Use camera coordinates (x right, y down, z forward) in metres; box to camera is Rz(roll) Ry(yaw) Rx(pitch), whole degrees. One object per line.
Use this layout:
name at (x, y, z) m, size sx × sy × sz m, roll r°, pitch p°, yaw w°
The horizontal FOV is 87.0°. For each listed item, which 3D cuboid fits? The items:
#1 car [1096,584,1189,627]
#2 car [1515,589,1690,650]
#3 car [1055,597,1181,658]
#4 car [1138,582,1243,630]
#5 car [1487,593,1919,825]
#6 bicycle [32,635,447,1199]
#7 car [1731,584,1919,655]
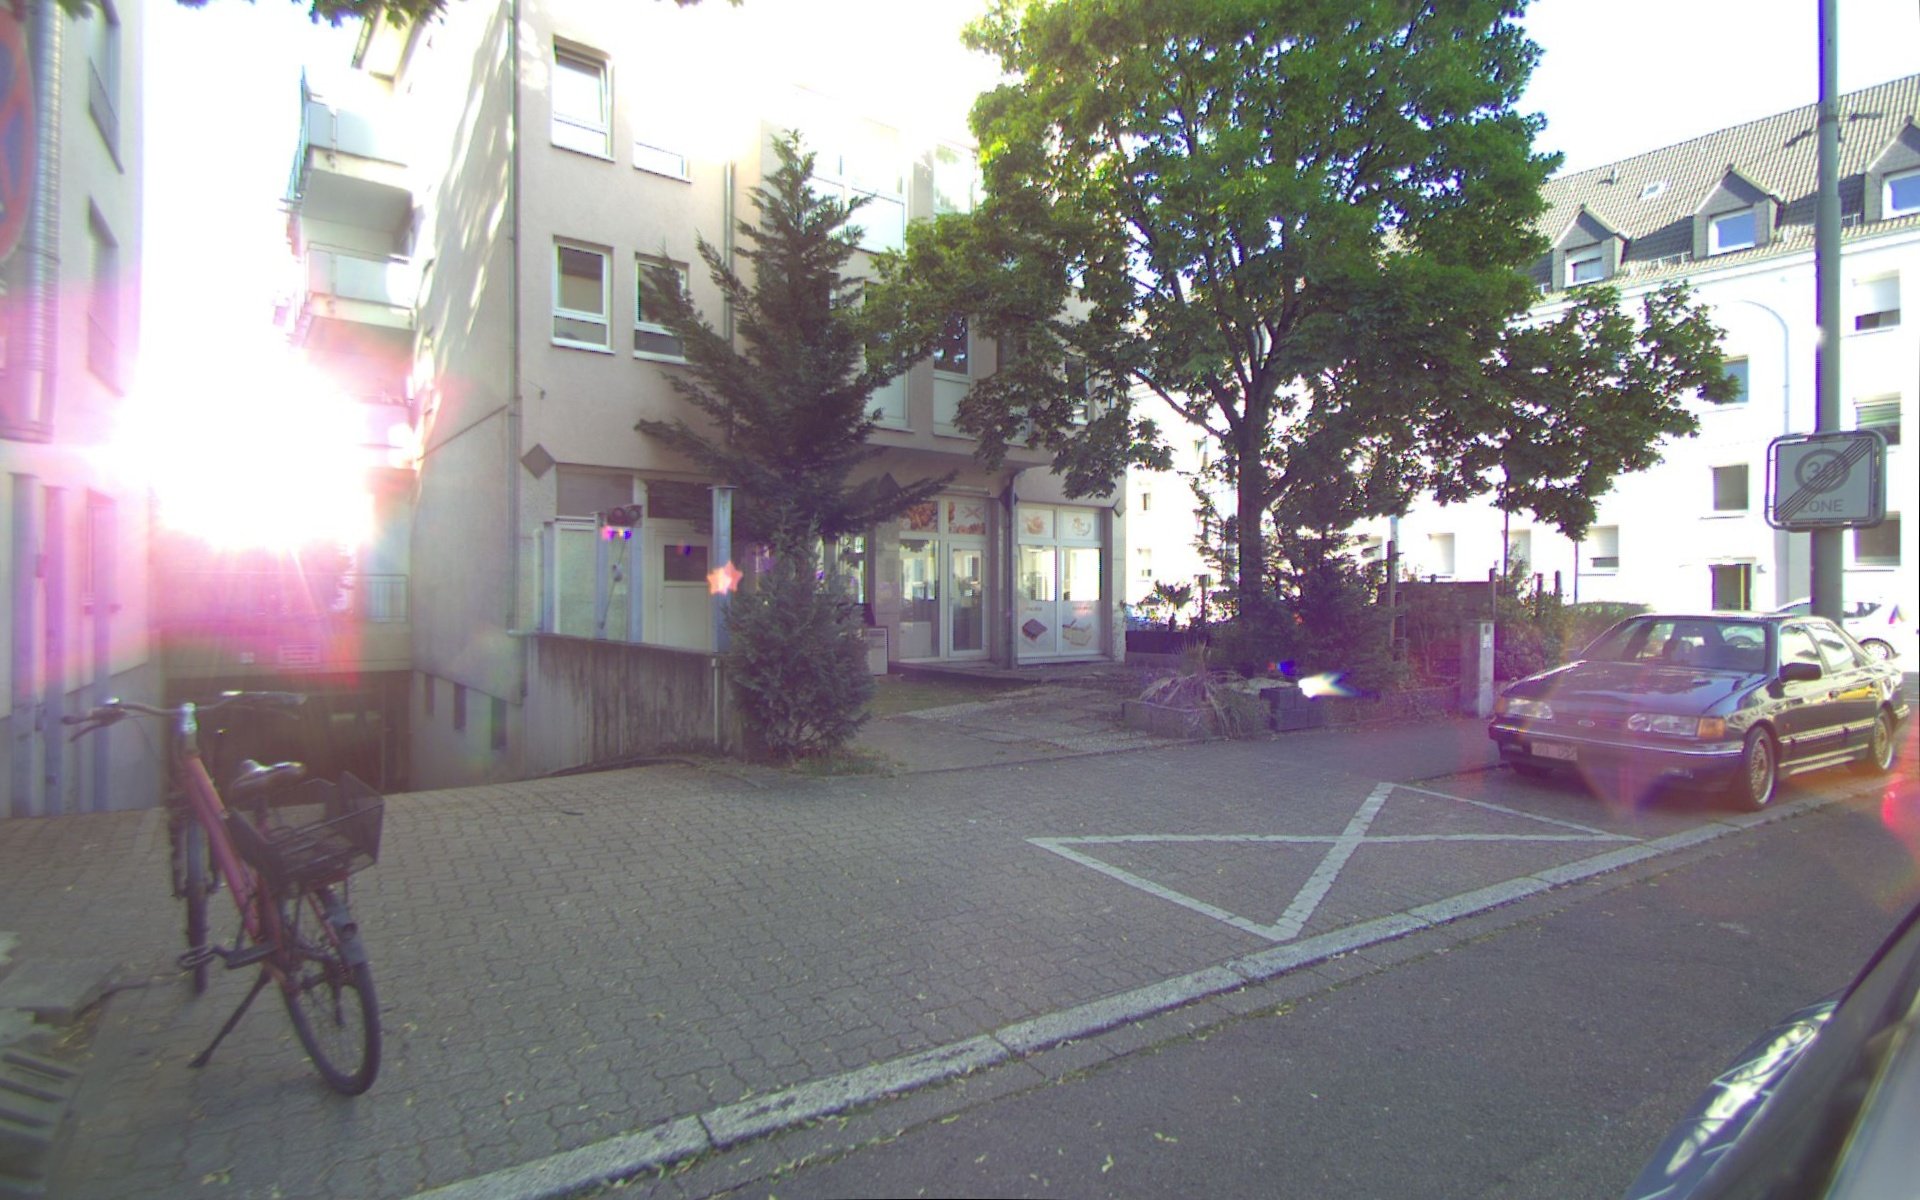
car at (8.071, 0.231, 45.037) m, size 1.664 × 1.804 × 3.996 m, roll 0°, pitch 0°, yaw -39°
car at (18.345, 0.591, 29.047) m, size 1.620 × 1.527 × 3.871 m, roll 0°, pitch -3°, yaw -40°
car at (3.800, 0.631, 24.651) m, size 1.242 × 1.373 × 2.873 m, roll -2°, pitch 1°, yaw -43°
car at (9.204, 0.225, 40.651) m, size 1.664 × 1.804 × 3.996 m, roll 0°, pitch 0°, yaw -39°
car at (6.495, 0.700, 8.509) m, size 4.419 × 1.425 × 1.668 m, roll 0°, pitch 3°, yaw -33°
bicycle at (-2.431, 0.802, 3.296) m, size 1.967 × 1.169 × 0.740 m, roll 5°, pitch 4°, yaw 44°
car at (21.525, 0.464, 24.989) m, size 1.620 × 1.627 × 3.702 m, roll 0°, pitch 0°, yaw -40°
